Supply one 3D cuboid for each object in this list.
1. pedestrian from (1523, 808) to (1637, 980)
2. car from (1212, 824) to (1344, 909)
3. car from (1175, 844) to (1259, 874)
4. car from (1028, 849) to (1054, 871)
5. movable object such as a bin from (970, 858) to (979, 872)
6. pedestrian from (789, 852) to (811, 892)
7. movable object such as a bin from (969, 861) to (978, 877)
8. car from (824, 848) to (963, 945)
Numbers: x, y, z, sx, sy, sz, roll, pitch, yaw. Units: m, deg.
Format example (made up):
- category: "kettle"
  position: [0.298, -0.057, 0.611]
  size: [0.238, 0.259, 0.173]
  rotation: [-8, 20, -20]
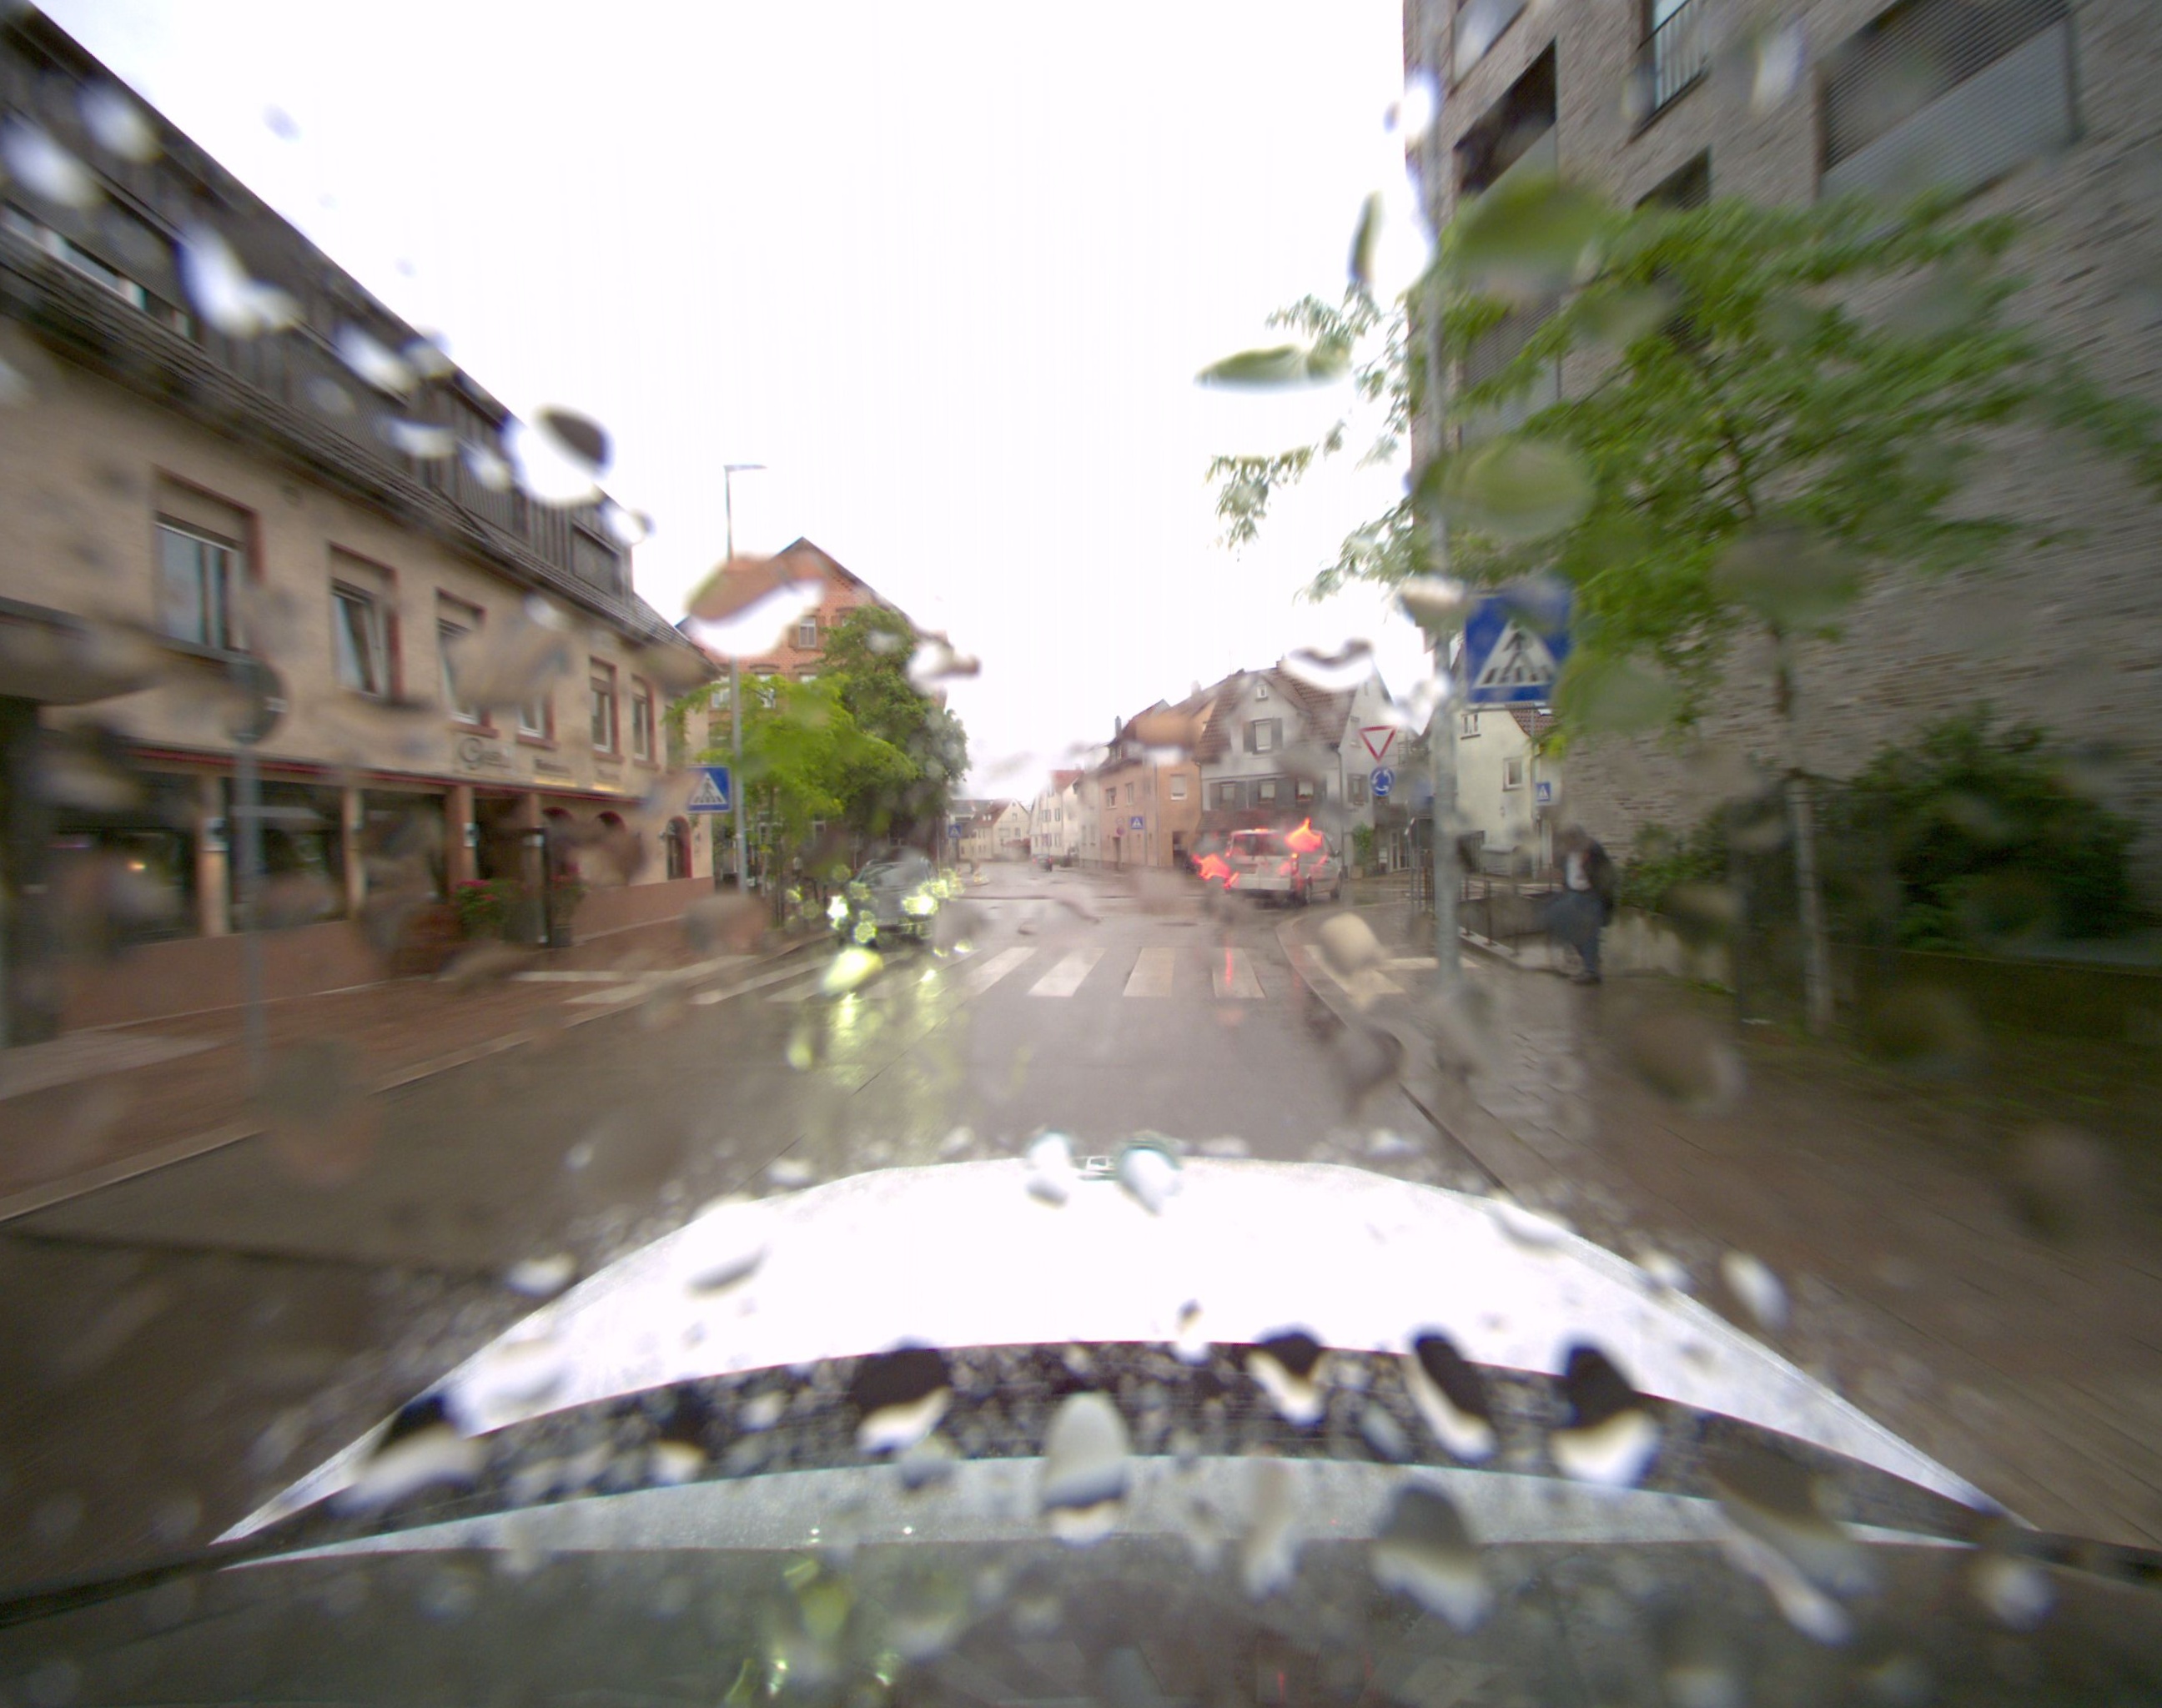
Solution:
- category: "pedestrian"
  position: [4.966, 0.383, 8.142]
  size: [0.582, 1.606, 0.702]
  rotation: [-3, 0, -8]
- category: "car"
  position: [5.206, 0.320, 20.957]
  size: [2.132, 1.899, 4.955]
  rotation: [-2, -1, 28]
- category: "car"
  position: [7.278, 0.286, 43.819]
  size: [3.995, 1.486, 1.989]
  rotation: [-1, -1, -16]
- category: "car"
  position: [-3.241, 0.484, 65.980]
  size: [1.969, 1.679, 4.061]
  rotation: [-1, -1, -4]
- category: "movable object such as a bin"
  position: [-8.838, 0.935, 67.516]
  size: [0.655, 1.169, 0.778]
  rotation: [0, -1, -14]
- category: "pedestrian"
  position: [-13.272, 0.846, 38.450]
  size: [0.840, 1.886, 0.822]
  rotation: [0, -1, -11]
- category: "movable object such as a bin"
  position: [-8.256, 1.159, 62.561]
  size: [0.627, 1.173, 0.758]
  rotation: [0, -1, -14]
- category: "car"
  position: [-3.360, 0.673, 15.472]
  size: [1.782, 1.508, 4.464]
  rotation: [-2, 1, -3]
